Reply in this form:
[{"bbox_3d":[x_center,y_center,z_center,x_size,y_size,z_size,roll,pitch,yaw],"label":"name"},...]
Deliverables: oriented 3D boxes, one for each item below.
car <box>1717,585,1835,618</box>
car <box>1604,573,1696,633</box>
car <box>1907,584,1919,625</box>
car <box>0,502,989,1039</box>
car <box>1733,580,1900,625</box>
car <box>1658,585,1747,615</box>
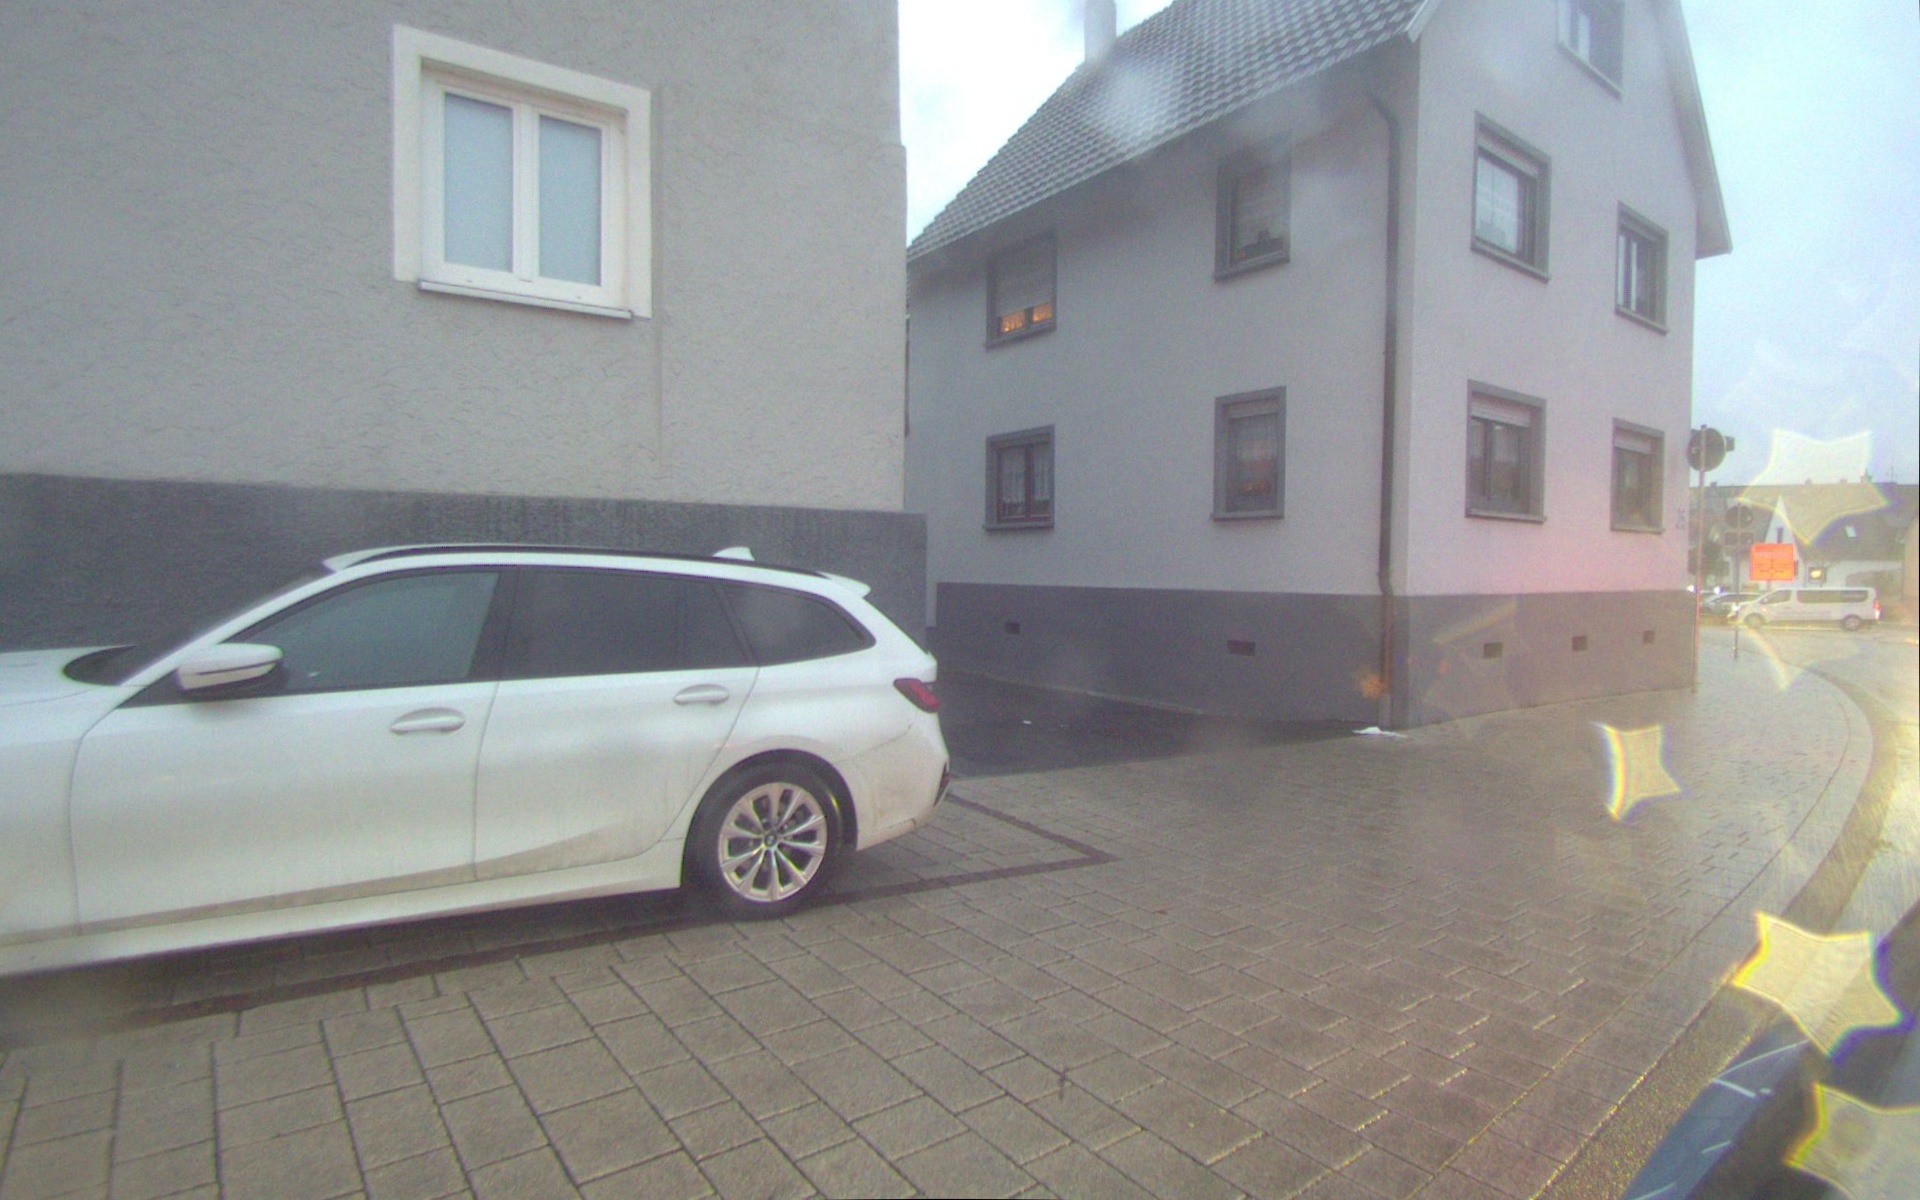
[{"bbox_3d":[46.832,0.095,58.225,4.823,1.705,1.986,2,0,21],"label":"car"},{"bbox_3d":[24.976,0.080,36.813,1.959,1.984,4.810,2,1,25],"label":"car"},{"bbox_3d":[41.504,0.244,40.725,4.393,1.652,2.142,1,2,20],"label":"car"},{"bbox_3d":[-2.282,0.435,4.101,4.452,1.484,1.892,1,2,-31],"label":"car"},{"bbox_3d":[39.280,0.112,46.661,5.749,1.970,1.963,0,0,38],"label":"car"},{"bbox_3d":[49.468,-0.017,67.517,4.370,1.824,1.833,2,1,19],"label":"car"}]
